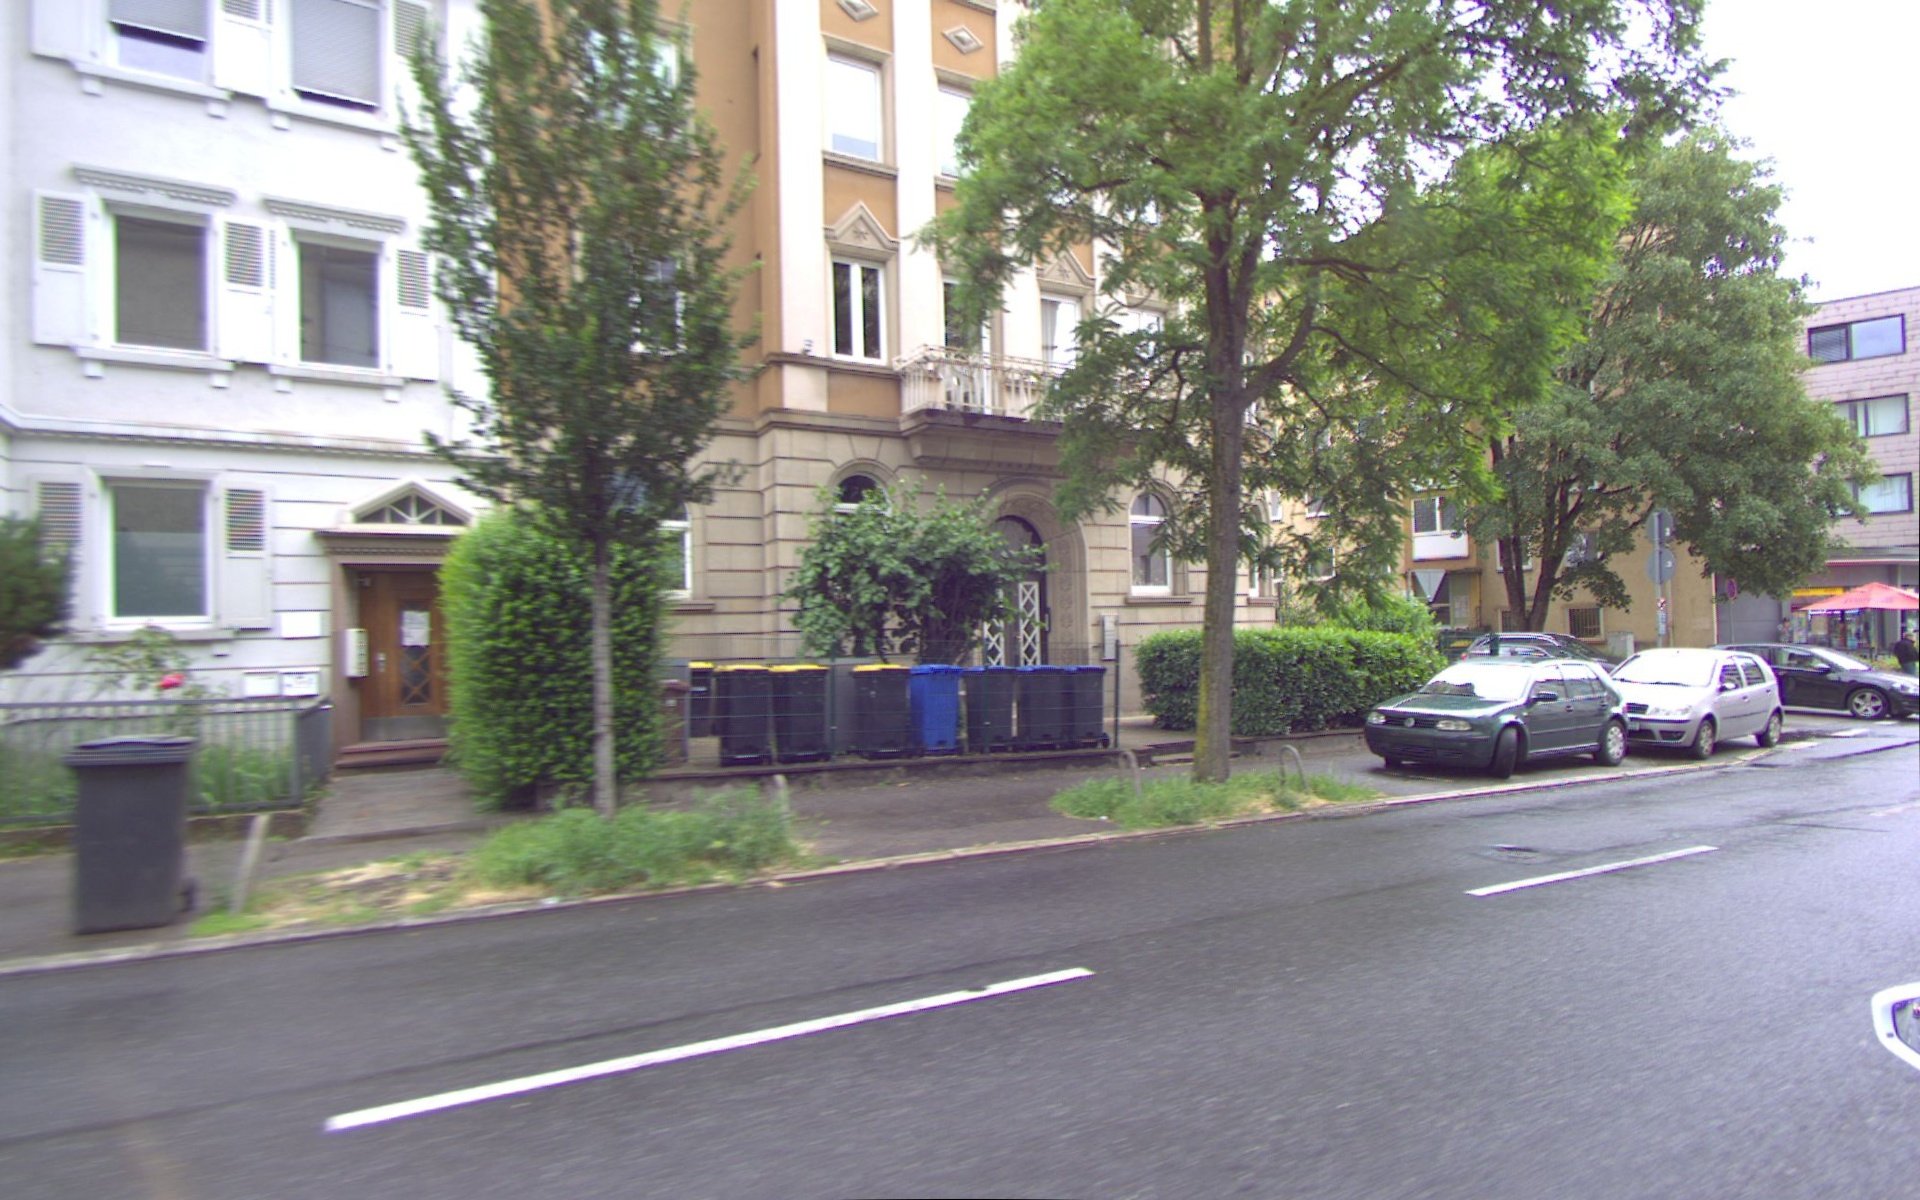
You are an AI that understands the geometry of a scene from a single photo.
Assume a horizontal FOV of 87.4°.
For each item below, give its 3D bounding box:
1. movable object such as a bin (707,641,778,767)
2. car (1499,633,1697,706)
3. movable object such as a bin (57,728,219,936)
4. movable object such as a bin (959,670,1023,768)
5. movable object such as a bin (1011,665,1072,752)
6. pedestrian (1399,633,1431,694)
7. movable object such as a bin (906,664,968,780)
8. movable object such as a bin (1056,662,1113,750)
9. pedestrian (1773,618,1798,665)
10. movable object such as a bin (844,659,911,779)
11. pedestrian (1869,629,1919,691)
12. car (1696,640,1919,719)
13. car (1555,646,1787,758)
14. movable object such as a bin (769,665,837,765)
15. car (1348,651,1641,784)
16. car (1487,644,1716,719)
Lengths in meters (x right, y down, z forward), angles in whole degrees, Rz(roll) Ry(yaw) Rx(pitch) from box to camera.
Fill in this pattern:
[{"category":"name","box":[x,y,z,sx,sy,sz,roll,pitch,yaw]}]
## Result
[{"category":"movable object such as a bin","box":[-2.345,1.097,10.821,0.642,1.316,0.437,1,-3,-31]},{"category":"car","box":[15.685,1.650,24.875,1.673,1.603,3.792,-1,-2,-30]},{"category":"movable object such as a bin","box":[-4.821,1.323,5.934,0.593,1.072,0.627,2,-3,-29]},{"category":"movable object such as a bin","box":[0.380,1.448,12.344,0.649,1.145,0.437,1,-2,-31]},{"category":"movable object such as a bin","box":[1.028,1.358,12.729,0.643,1.054,0.424,1,-3,-31]},{"category":"pedestrian","box":[13.255,1.828,29.247,0.618,1.705,0.814,2,2,41]},{"category":"movable object such as a bin","box":[-0.276,1.429,11.966,0.602,1.326,0.437,1,-3,-31]},{"category":"movable object such as a bin","box":[1.615,1.365,13.058,0.583,1.095,0.437,1,-3,-30]},{"category":"pedestrian","box":[32.691,1.654,39.769,0.624,1.840,0.636,-2,-2,31]},{"category":"movable object such as a bin","box":[-0.950,1.344,11.562,0.642,1.326,0.437,1,-3,-31]},{"category":"pedestrian","box":[27.422,1.733,29.439,0.708,1.754,1.054,0,-1,-39]},{"category":"car","box":[17.823,1.588,20.825,1.722,1.408,3.798,2,-2,-30]},{"category":"car","box":[10.815,1.452,15.226,3.799,1.473,1.622,1,-2,-34]},{"category":"movable object such as a bin","box":[-1.739,1.251,11.120,0.642,1.053,0.437,1,-3,-31]},{"category":"car","box":[7.056,1.429,13.179,3.898,1.473,1.645,1,-3,-32]},{"category":"car","box":[13.713,1.687,21.702,1.720,1.408,3.803,0,-2,-27]}]
